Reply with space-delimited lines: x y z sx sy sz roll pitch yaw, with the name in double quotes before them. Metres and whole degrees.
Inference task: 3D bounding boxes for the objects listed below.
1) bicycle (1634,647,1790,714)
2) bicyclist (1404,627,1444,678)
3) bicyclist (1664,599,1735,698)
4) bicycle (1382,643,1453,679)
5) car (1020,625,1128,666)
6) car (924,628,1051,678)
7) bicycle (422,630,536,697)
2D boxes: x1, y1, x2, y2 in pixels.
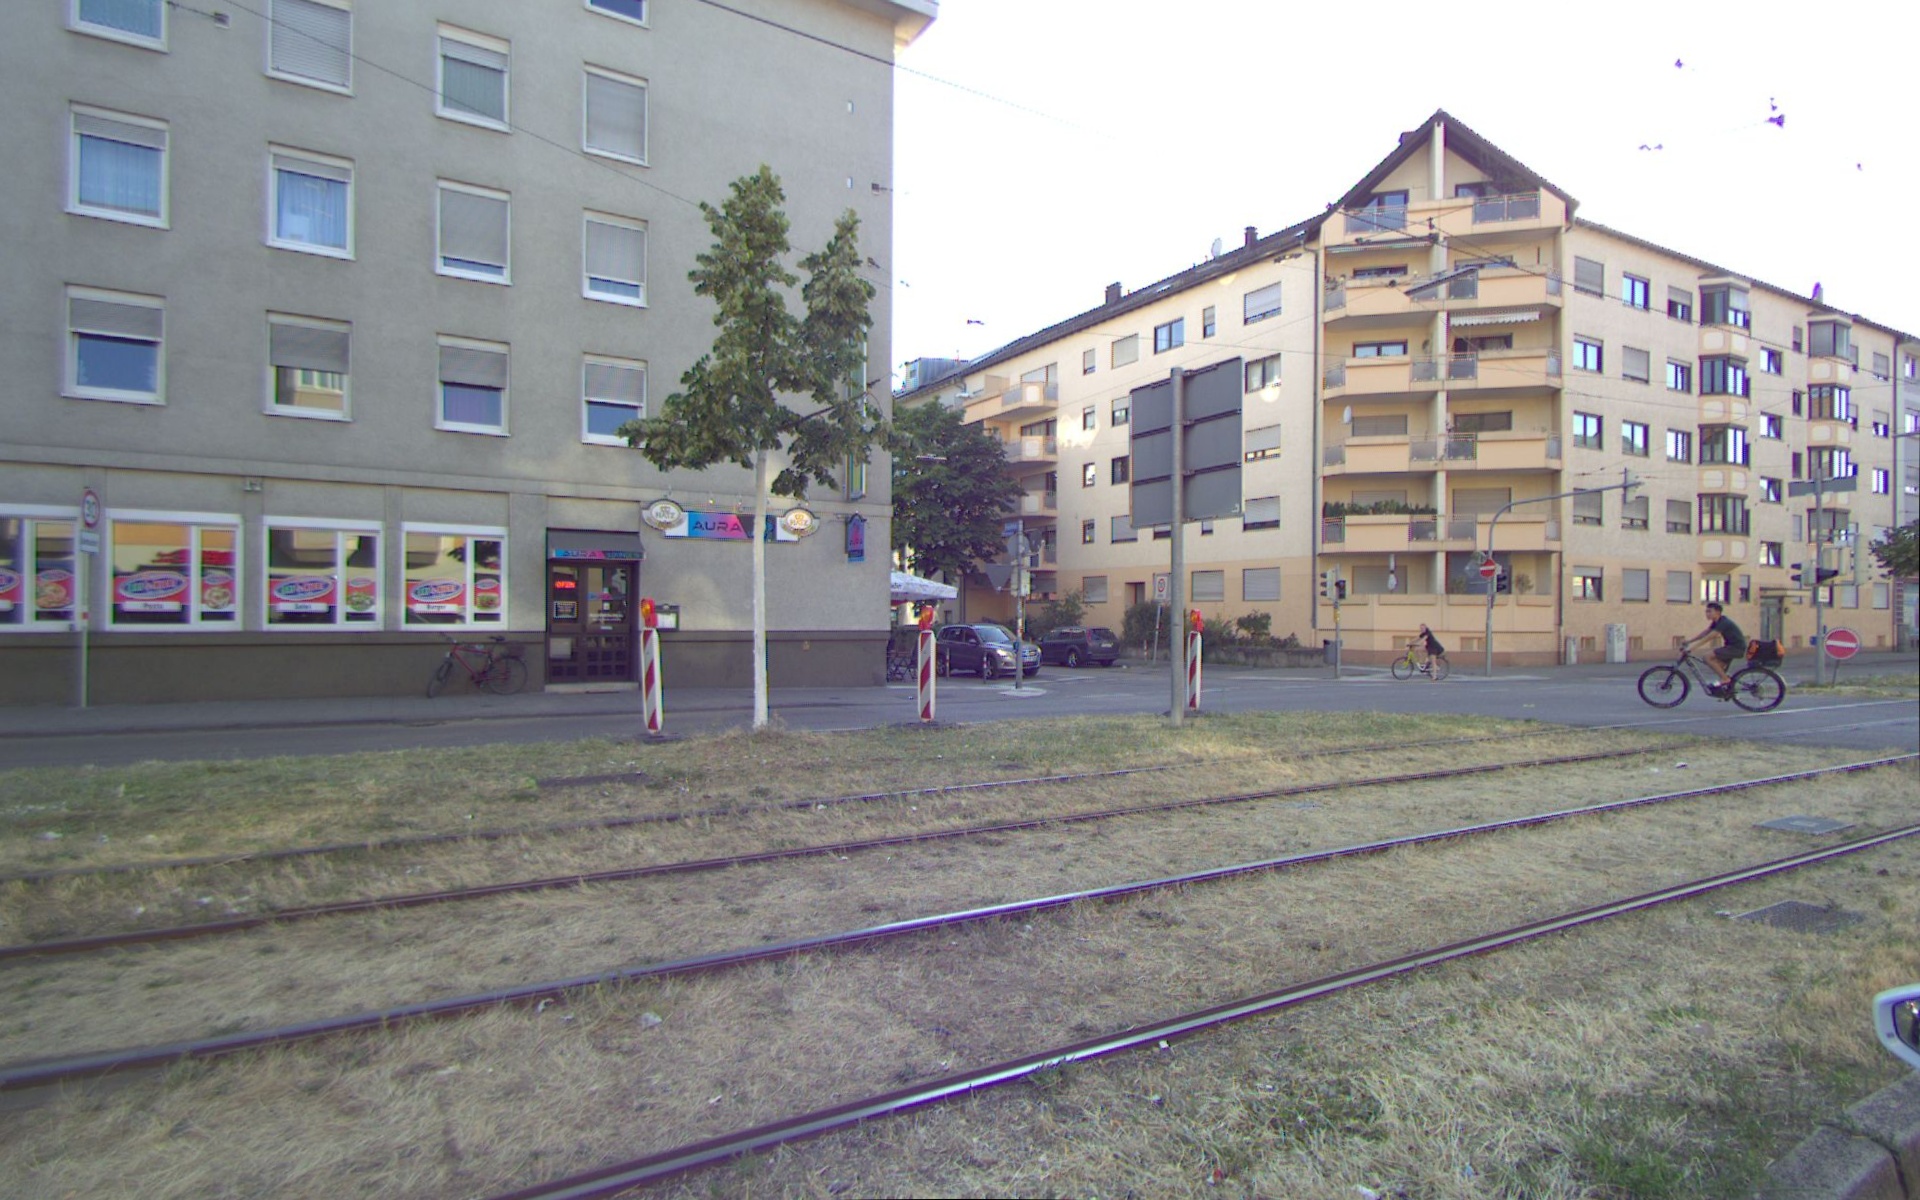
"bicycle" 12.001 1.260 16.114 1.952 0.906 0.784 1 0 35
"bicyclist" 13.567 1.530 29.382 0.946 1.466 0.529 0 -1 0
"bicyclist" 11.899 0.768 16.179 0.891 1.546 0.646 0 -1 35
"bicycle" 13.380 1.781 29.379 1.846 0.997 0.529 0 -1 0
"car" 4.227 1.676 37.672 1.776 1.459 3.926 2 -2 -39
"car" 0.793 1.604 31.293 1.751 1.406 4.074 2 -1 -39
"bicycle" -8.456 1.094 17.666 1.757 1.129 0.743 1 -1 -31
